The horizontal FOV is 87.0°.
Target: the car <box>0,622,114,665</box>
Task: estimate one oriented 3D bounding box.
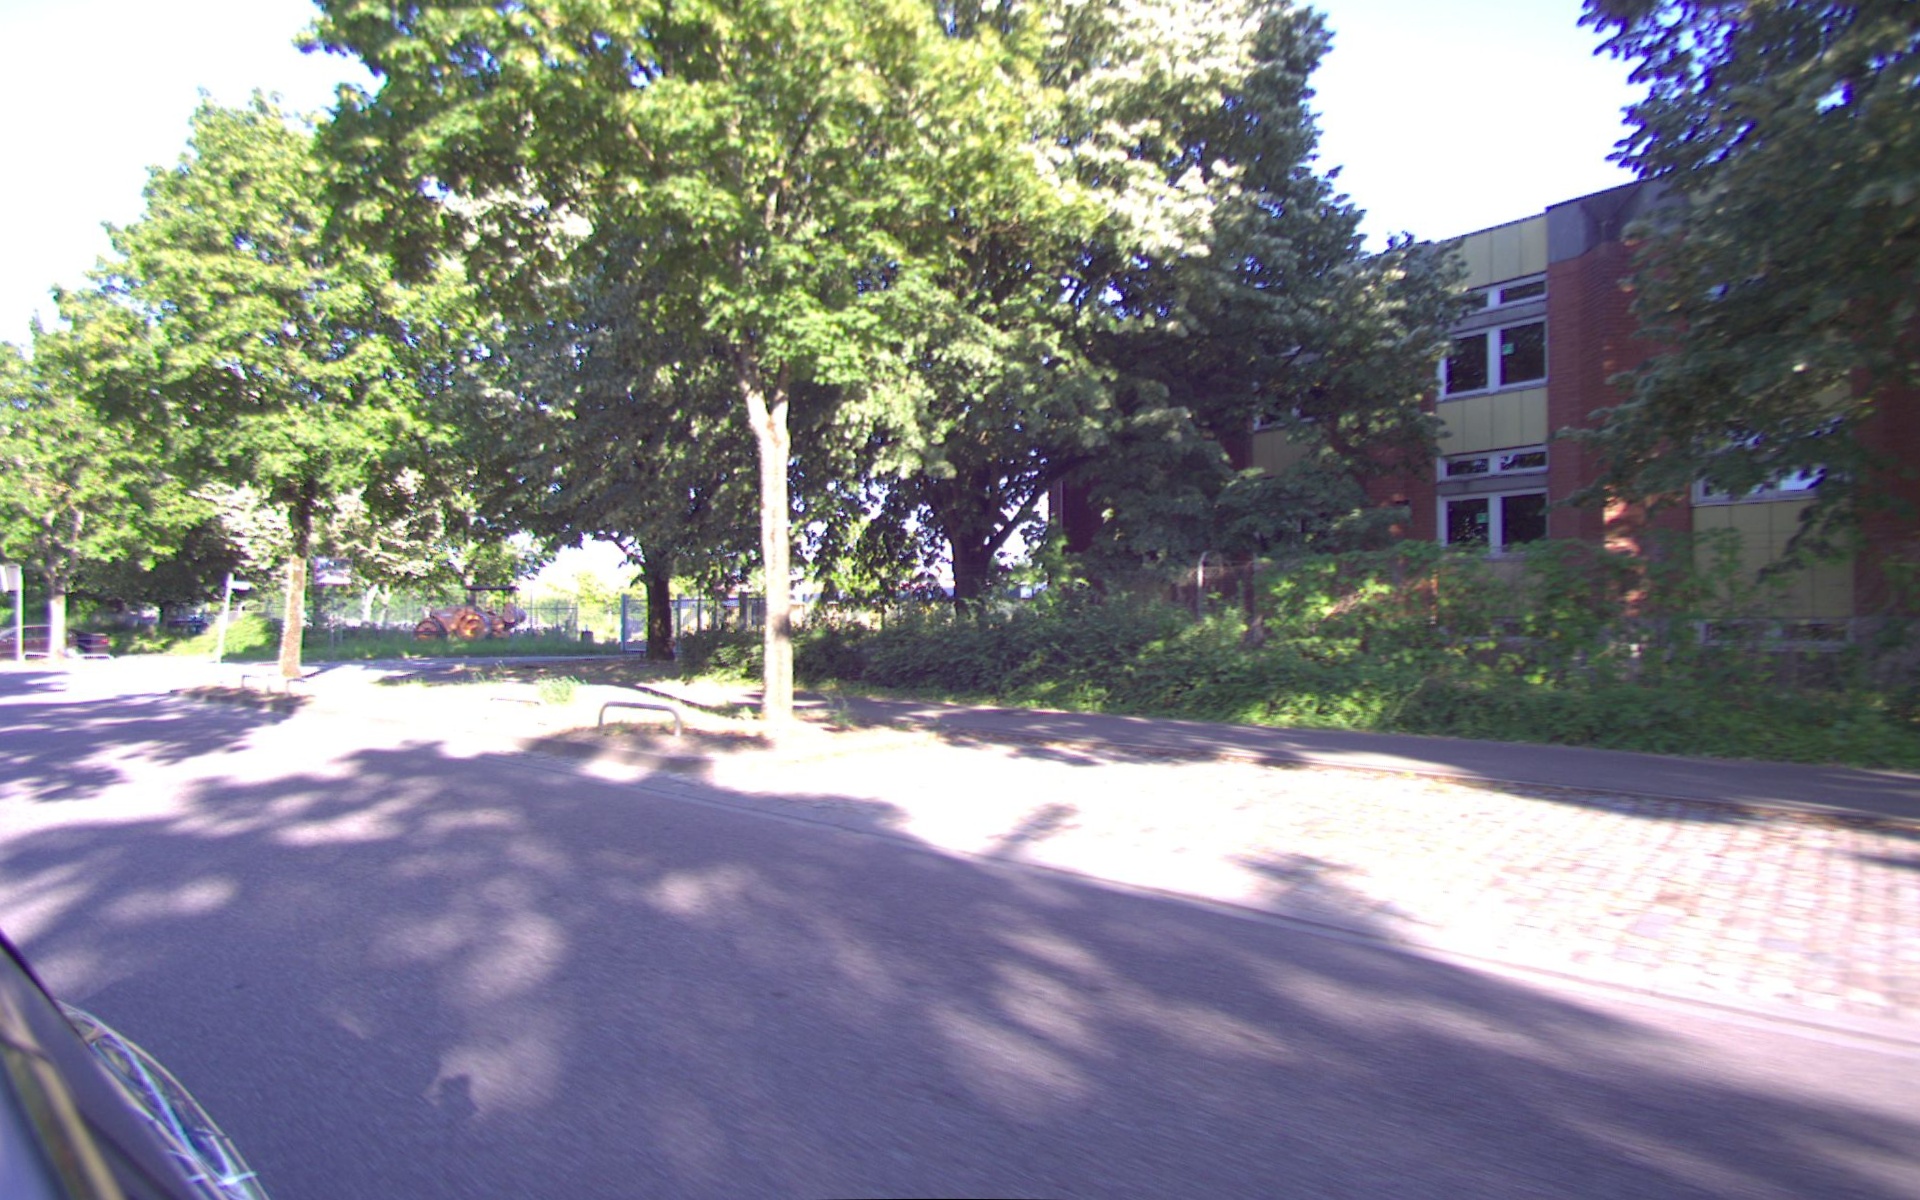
[{"bbox_3d":[-35.526,1.645,38.331,1.995,1.473,4.993,-1,0,34],"label":"car"}]

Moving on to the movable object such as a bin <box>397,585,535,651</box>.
[{"bbox_3d":[-20.672,0.771,42.539,4.736,2.685,2.165,0,-2,-1],"label":"movable object such as a bin"}]

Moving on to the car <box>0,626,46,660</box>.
[{"bbox_3d":[-43.318,1.934,44.397,1.995,1.473,4.442,-1,0,34],"label":"car"}]
